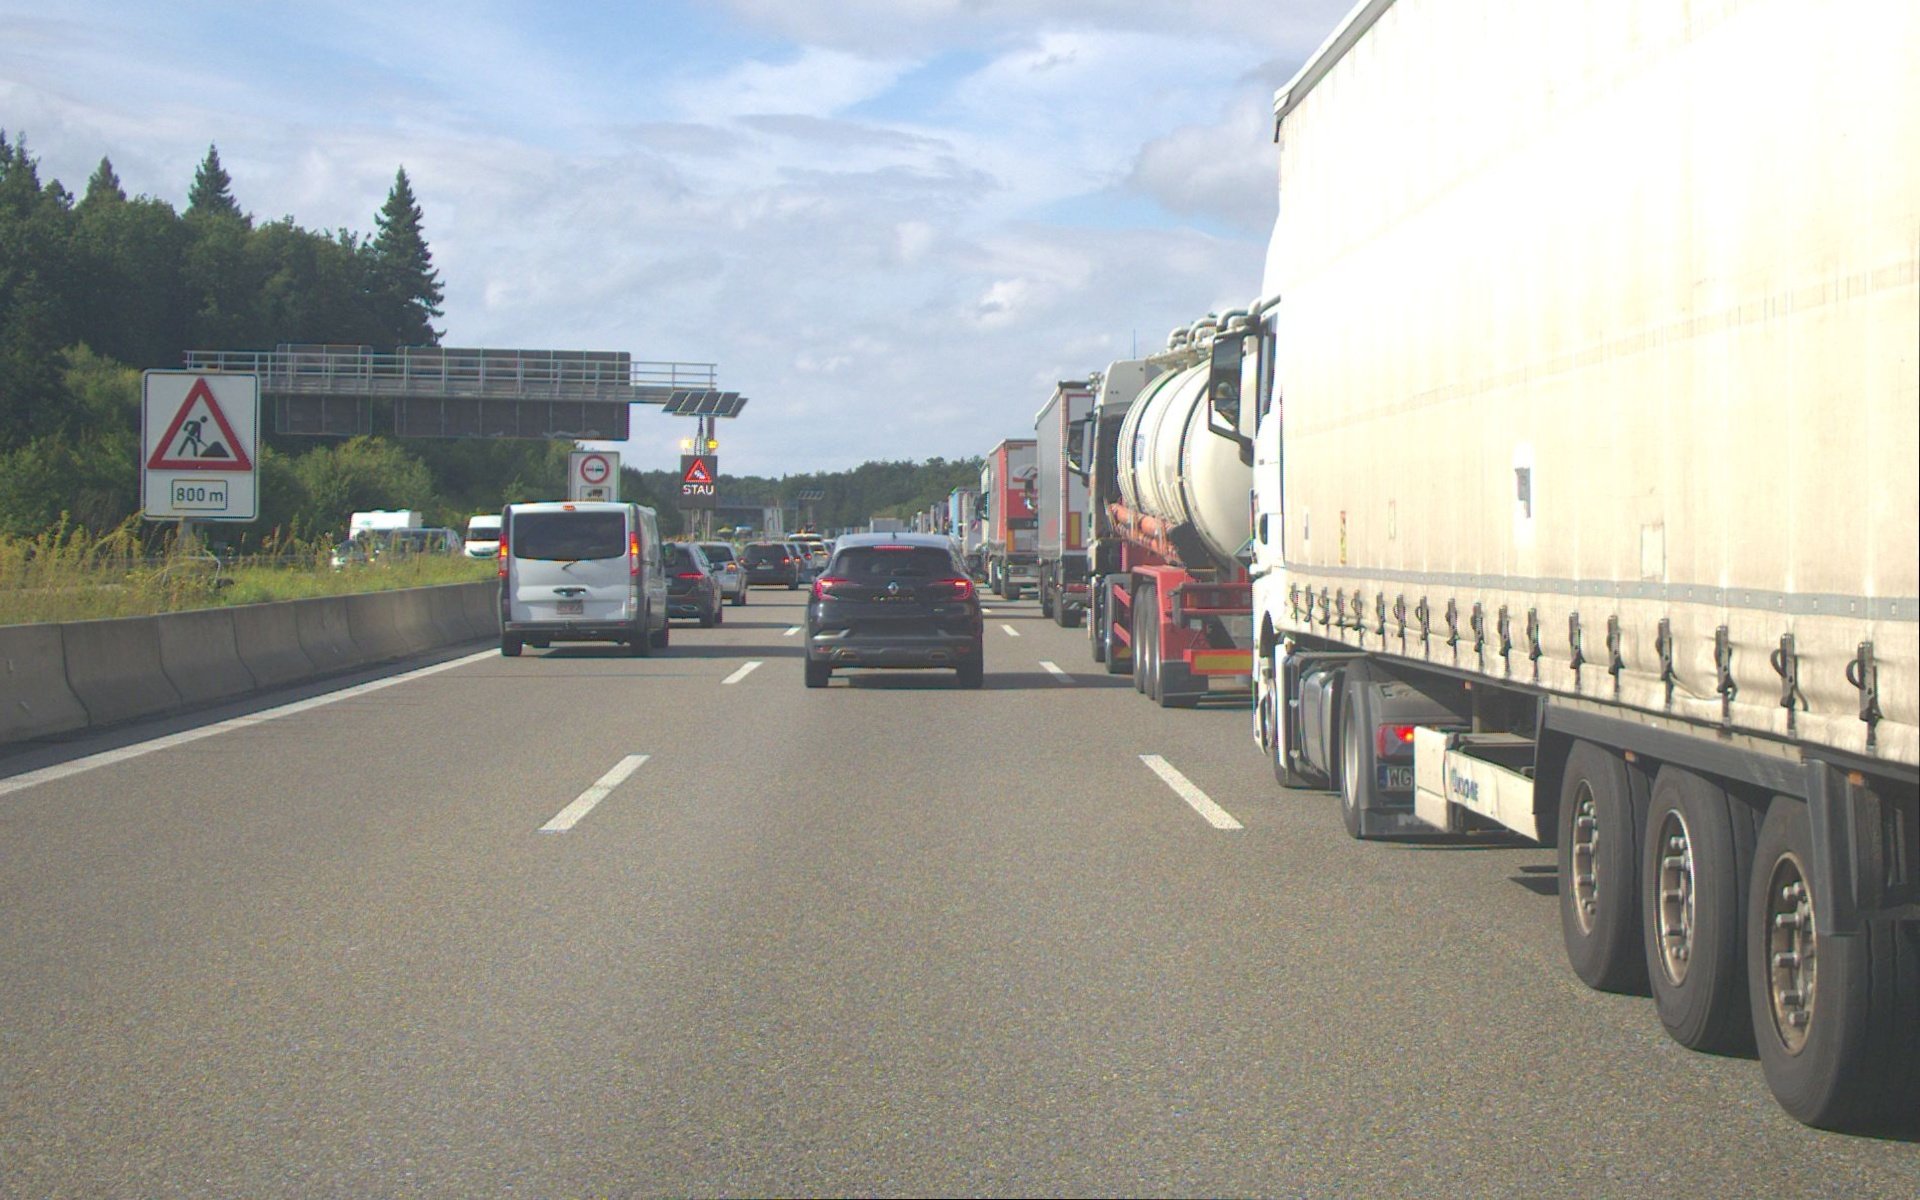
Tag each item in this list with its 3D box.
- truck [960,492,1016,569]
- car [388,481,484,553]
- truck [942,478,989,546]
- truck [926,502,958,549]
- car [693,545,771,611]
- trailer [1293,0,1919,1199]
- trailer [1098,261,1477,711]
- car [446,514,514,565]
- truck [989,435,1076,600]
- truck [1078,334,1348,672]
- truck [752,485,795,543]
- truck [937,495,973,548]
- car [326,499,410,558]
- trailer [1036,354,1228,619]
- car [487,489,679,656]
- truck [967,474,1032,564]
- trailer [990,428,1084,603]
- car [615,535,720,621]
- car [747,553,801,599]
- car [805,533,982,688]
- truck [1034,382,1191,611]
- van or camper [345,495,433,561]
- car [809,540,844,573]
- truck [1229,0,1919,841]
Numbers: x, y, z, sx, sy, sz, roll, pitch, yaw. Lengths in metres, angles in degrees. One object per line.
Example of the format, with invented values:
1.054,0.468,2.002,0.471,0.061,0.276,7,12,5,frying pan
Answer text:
1.104,-2.769,137.714,1.993,2.922,4.982,3,1,0,truck
-12.521,-1.968,82.301,1.669,1.576,4.000,3,1,-1,car
0.254,-4.147,163.439,1.993,3.042,4.982,3,1,0,truck
-1.251,-5.089,234.970,1.993,3.042,4.982,3,1,0,truck
-5.172,-0.512,78.220,1.500,1.391,3.476,3,1,-1,car
3.224,-0.802,12.038,2.703,4.068,12.945,0,1,-1,trailer
2.874,-0.993,33.239,2.541,3.641,10.627,0,1,0,trailer
-22.630,-2.843,162.392,2.315,2.185,6.864,3,1,-2,car
1.911,-2.174,92.158,2.134,4.267,6.339,1,1,0,truck
2.801,-1.071,39.851,2.533,3.571,6.730,0,1,-1,truck
-12.225,-5.613,225.472,2.344,3.582,6.306,3,1,-1,truck
-0.321,-4.745,207.936,1.993,3.042,4.982,3,1,0,truck
-21.149,-2.550,123.036,2.239,2.050,5.083,1,1,-1,car
2.872,-1.877,60.421,2.802,4.229,11.057,0,1,0,trailer
-4.904,-0.376,45.395,1.933,1.972,5.099,3,1,-1,car
1.335,-2.777,118.910,1.993,2.922,4.982,3,1,0,truck
1.926,-2.105,88.148,2.150,4.244,8.440,1,1,0,trailer
-4.940,-0.382,58.316,1.500,1.391,3.476,1,1,-1,car
-5.638,-0.745,104.490,1.434,1.305,3.534,3,1,-1,car
-0.678,0.068,35.466,1.696,1.478,4.160,1,1,-1,car
2.891,-1.958,66.925,2.786,4.232,6.459,0,1,0,truck
-21.282,-2.664,128.419,2.459,2.405,5.853,0,1,-1,van or camper
-5.664,-1.839,146.215,1.361,1.296,3.085,3,1,-1,car
3.135,-0.948,19.114,2.708,4.046,6.362,0,1,-1,truck
